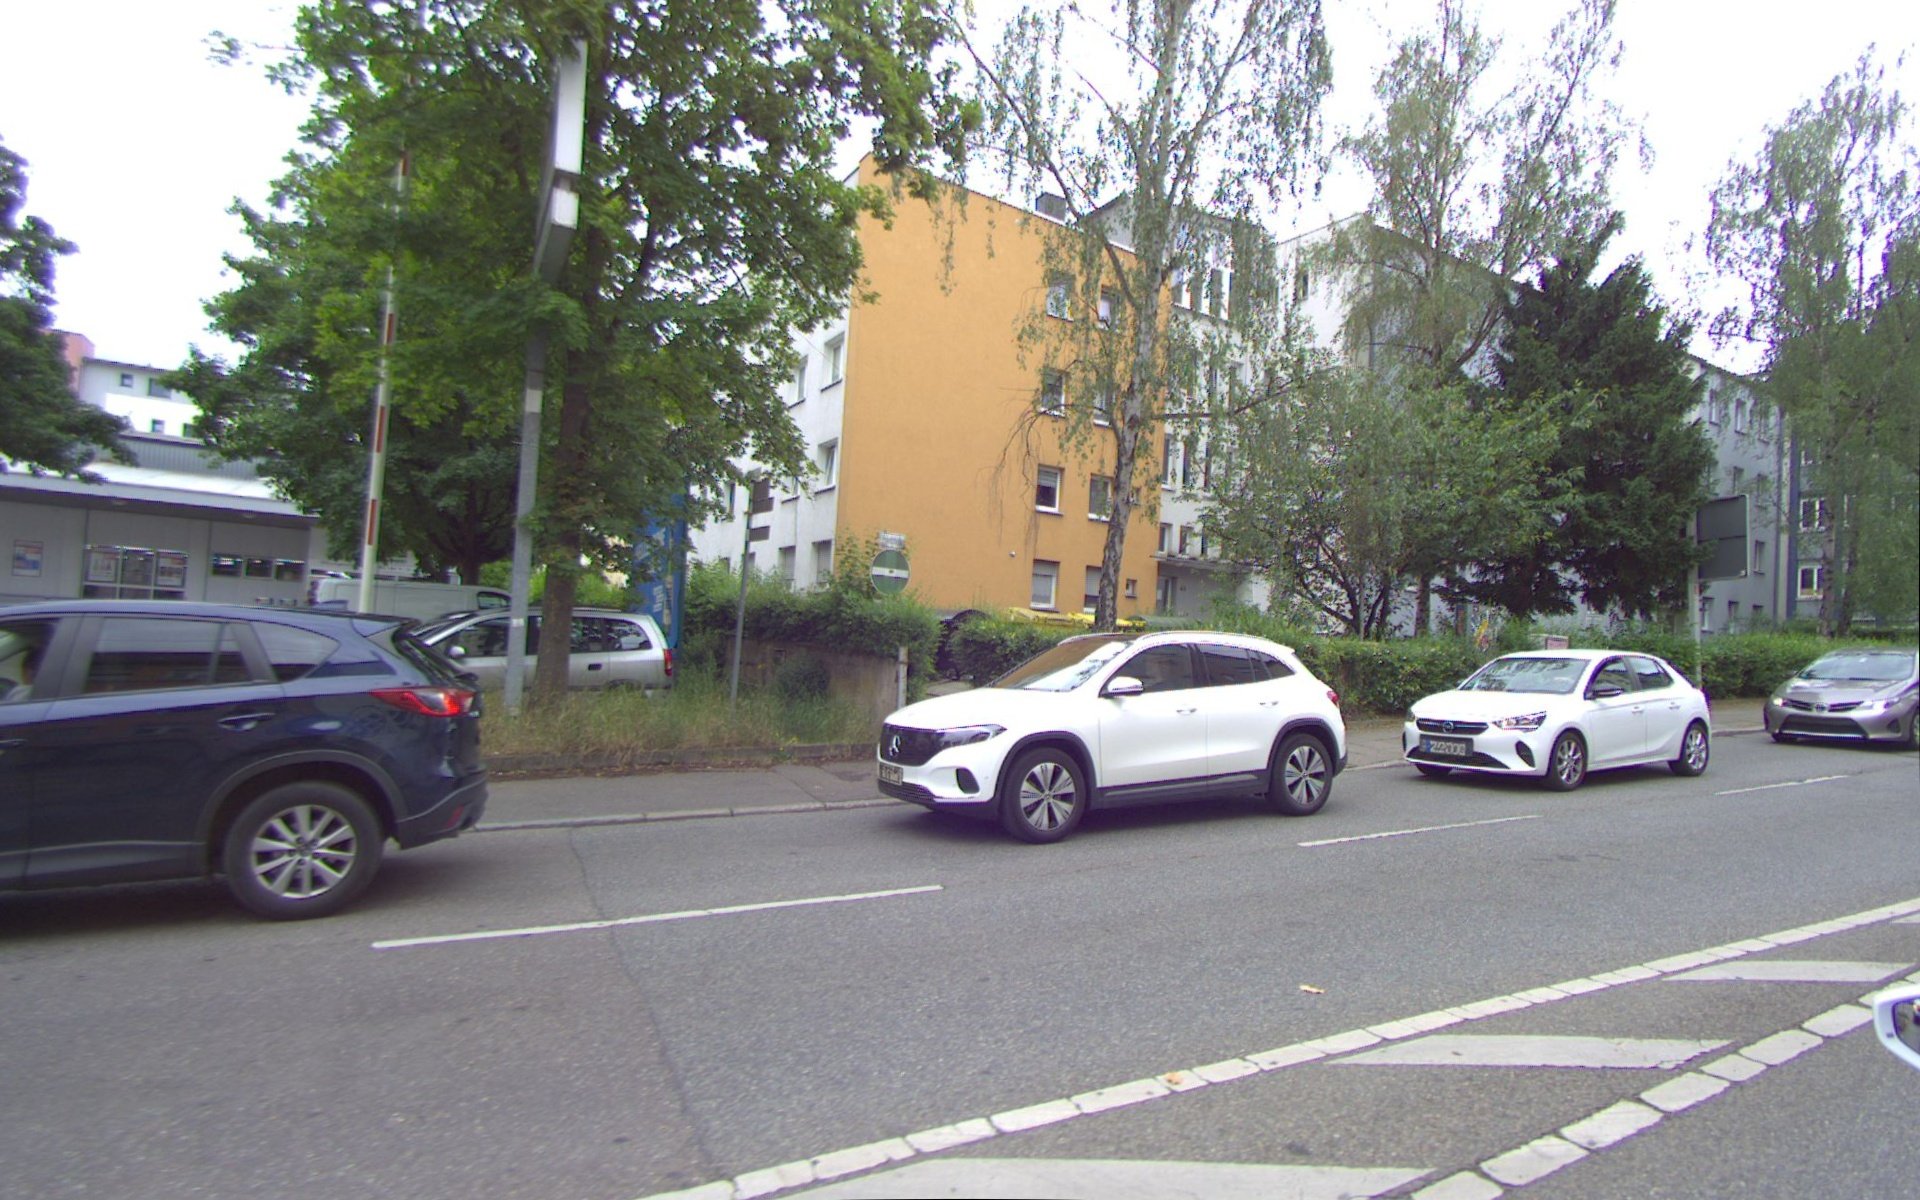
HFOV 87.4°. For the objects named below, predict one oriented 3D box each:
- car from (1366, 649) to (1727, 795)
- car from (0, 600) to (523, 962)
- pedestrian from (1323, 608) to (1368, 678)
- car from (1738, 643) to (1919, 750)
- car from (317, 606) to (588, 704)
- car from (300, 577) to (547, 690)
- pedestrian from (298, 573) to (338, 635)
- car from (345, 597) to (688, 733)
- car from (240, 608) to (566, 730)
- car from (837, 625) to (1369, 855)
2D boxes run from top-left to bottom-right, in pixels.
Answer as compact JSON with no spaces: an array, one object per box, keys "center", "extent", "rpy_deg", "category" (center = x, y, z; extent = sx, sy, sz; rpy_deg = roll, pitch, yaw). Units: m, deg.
[{"center":[6.858,1.303,11.703],"extent":[4.024,1.430,1.832],"rpy_deg":[2,-4,-29],"category":"car"},{"center":[-4.845,0.891,5.529],"extent":[4.357,1.663,1.945],"rpy_deg":[1,-4,-27],"category":"car"},{"center":[10.179,1.116,26.538],"extent":[0.783,1.778,0.720],"rpy_deg":[-3,1,-25],"category":"pedestrian"},{"center":[14.285,1.425,15.744],"extent":[4.260,1.467,1.831],"rpy_deg":[2,-3,-30],"category":"car"},{"center":[-8.697,0.897,17.317],"extent":[3.961,1.429,1.695],"rpy_deg":[2,2,-36],"category":"car"},{"center":[-10.150,0.621,19.223],"extent":[3.951,1.927,1.816],"rpy_deg":[2,1,-29],"category":"car"},{"center":[-20.774,0.134,32.510],"extent":[0.810,1.976,0.708],"rpy_deg":[1,0,24],"category":"pedestrian"},{"center":[-5.849,0.807,13.410],"extent":[3.954,1.521,1.698],"rpy_deg":[2,1,-31],"category":"car"},{"center":[-7.980,0.963,14.755],"extent":[3.948,1.521,1.701],"rpy_deg":[2,1,-26],"category":"car"},{"center":[1.320,1.092,8.998],"extent":[4.441,1.614,1.944],"rpy_deg":[2,-4,-28],"category":"car"}]
